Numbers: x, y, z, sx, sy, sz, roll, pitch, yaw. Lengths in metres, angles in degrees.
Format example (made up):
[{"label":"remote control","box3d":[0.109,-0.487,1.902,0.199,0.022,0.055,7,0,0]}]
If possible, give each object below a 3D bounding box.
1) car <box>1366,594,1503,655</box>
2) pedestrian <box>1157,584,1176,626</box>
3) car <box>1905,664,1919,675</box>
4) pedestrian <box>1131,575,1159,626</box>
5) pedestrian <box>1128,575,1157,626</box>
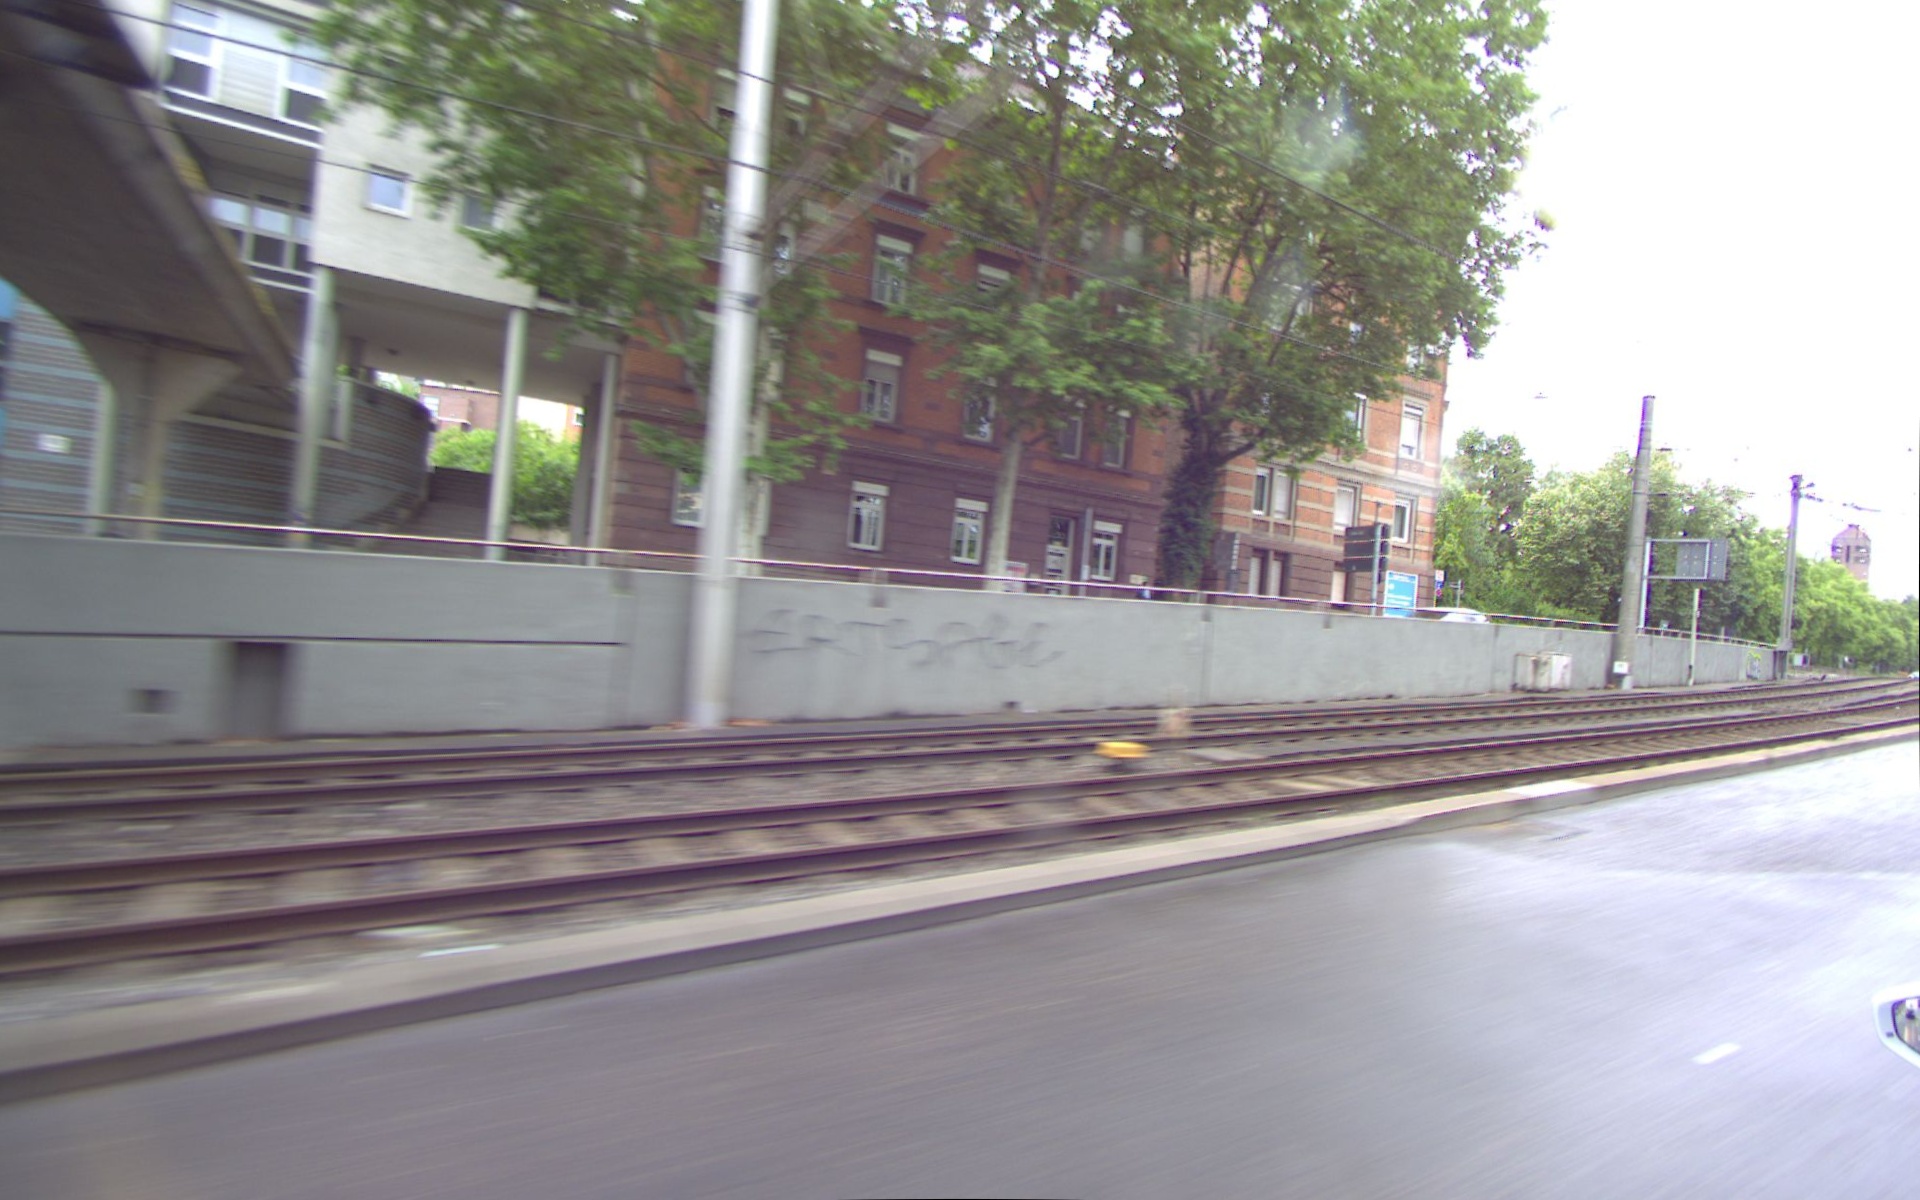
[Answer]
[{"label":"car","box3d":[14.915,0.779,31.546,4.311,1.633,1.784,3,2,-32]},{"label":"pedestrian","box3d":[6.674,0.167,32.431,0.499,1.351,0.332,2,-1,-36]},{"label":"car","box3d":[153.709,11.218,161.773,3.821,1.530,1.778,3,0,-42]},{"label":"pedestrian","box3d":[6.172,0.027,33.552,0.712,1.646,0.592,2,-1,-22]},{"label":"pedestrian","box3d":[5.938,0.022,32.699,0.712,1.646,0.592,2,-1,-22]}]
